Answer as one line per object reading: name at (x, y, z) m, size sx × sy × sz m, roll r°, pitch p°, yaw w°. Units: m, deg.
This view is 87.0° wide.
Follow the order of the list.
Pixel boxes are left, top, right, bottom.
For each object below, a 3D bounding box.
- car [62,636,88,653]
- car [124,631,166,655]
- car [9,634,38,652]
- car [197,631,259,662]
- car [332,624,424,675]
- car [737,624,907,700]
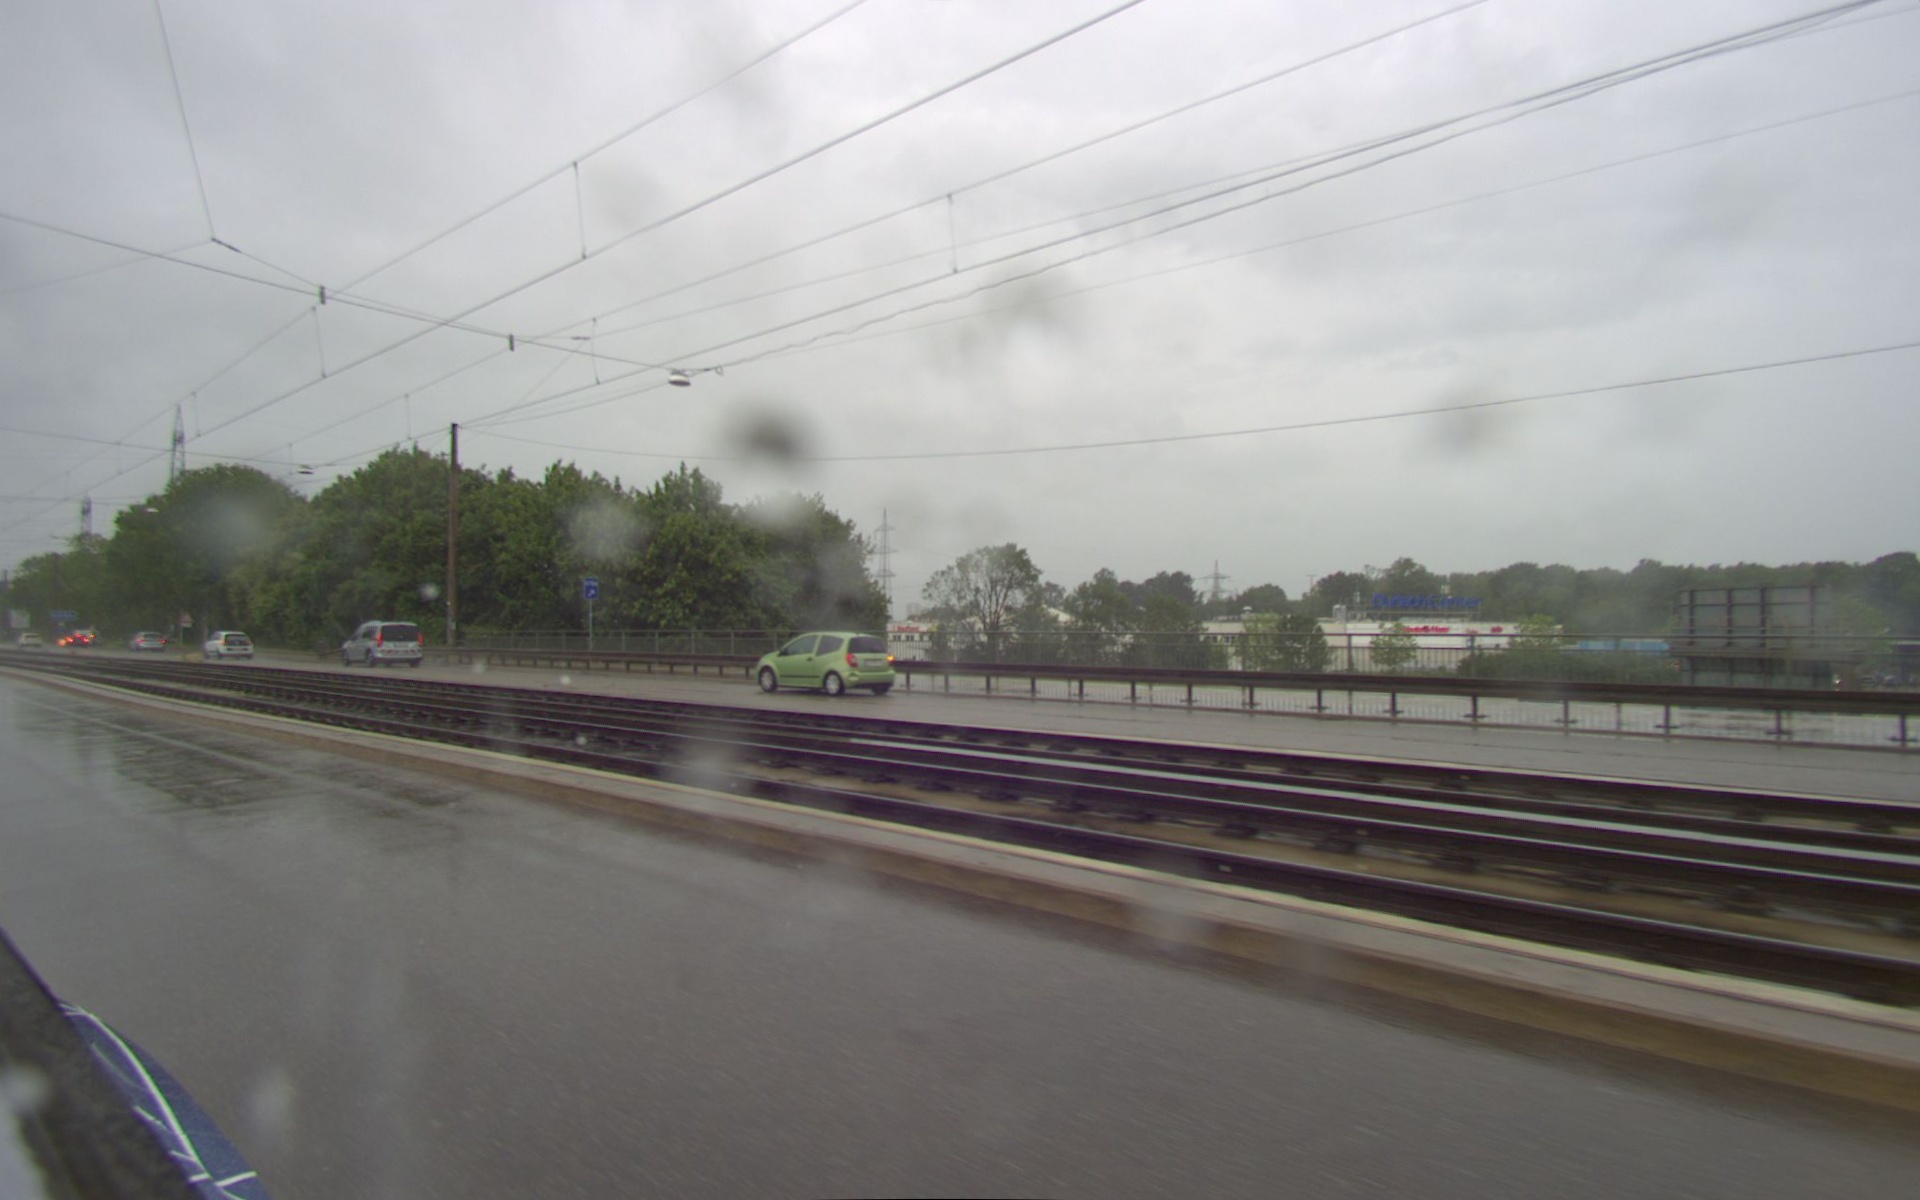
car at (-94.543, 4.719, 108.111) m, size 1.753 × 1.642 × 3.673 m, roll -3°, pitch 2°, yaw -45°
car at (-65.865, 3.466, 81.799) m, size 4.659 × 1.724 × 1.814 m, roll -1°, pitch 2°, yaw 41°
car at (-96.342, 4.388, 104.140) m, size 3.669 × 1.642 × 1.754 m, roll -1°, pitch 2°, yaw 41°
car at (-41.569, 2.610, 57.461) m, size 3.998 × 1.630 × 1.973 m, roll -1°, pitch -2°, yaw 41°
car at (-23.457, 1.947, 40.741) m, size 4.392 × 1.845 × 1.829 m, roll -1°, pitch 2°, yaw 41°
car at (-3.306, 1.390, 23.830) m, size 3.998 × 1.606 × 1.827 m, roll -1°, pitch -1°, yaw 41°
